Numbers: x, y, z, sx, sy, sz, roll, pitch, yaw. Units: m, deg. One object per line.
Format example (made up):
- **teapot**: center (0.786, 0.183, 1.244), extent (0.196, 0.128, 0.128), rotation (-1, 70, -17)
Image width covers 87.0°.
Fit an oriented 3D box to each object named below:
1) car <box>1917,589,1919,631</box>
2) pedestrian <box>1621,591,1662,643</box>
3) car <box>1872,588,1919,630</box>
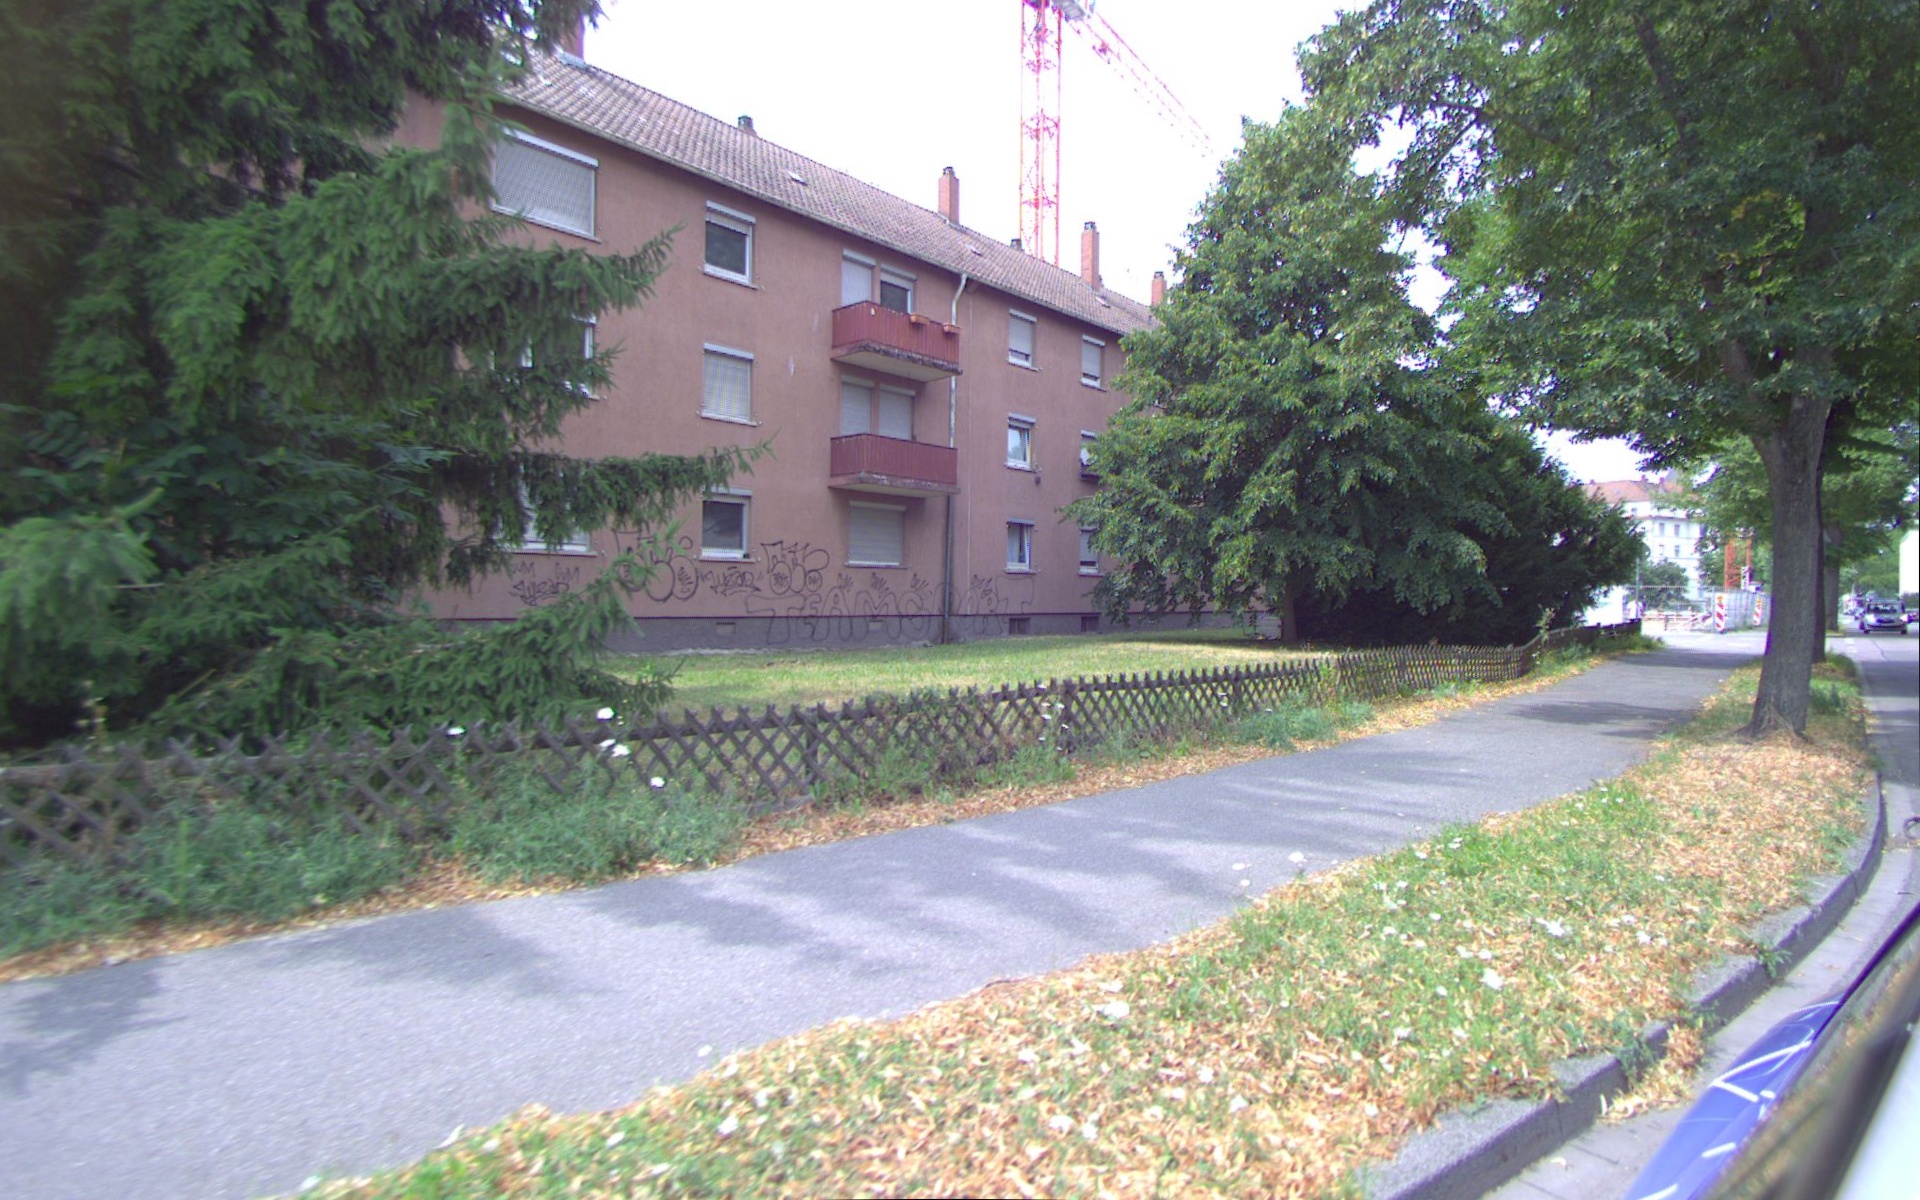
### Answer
- **car**: center (35.582, 0.465, 34.823), extent (4.293, 1.460, 2.015), rotation (3, 0, -18)
- **pedestrian**: center (24.797, 0.599, 36.839), extent (0.870, 1.837, 0.886), rotation (2, 1, -29)
- **car**: center (50.497, 0.479, 54.244), extent (1.991, 2.038, 3.944), rotation (5, 3, 38)
